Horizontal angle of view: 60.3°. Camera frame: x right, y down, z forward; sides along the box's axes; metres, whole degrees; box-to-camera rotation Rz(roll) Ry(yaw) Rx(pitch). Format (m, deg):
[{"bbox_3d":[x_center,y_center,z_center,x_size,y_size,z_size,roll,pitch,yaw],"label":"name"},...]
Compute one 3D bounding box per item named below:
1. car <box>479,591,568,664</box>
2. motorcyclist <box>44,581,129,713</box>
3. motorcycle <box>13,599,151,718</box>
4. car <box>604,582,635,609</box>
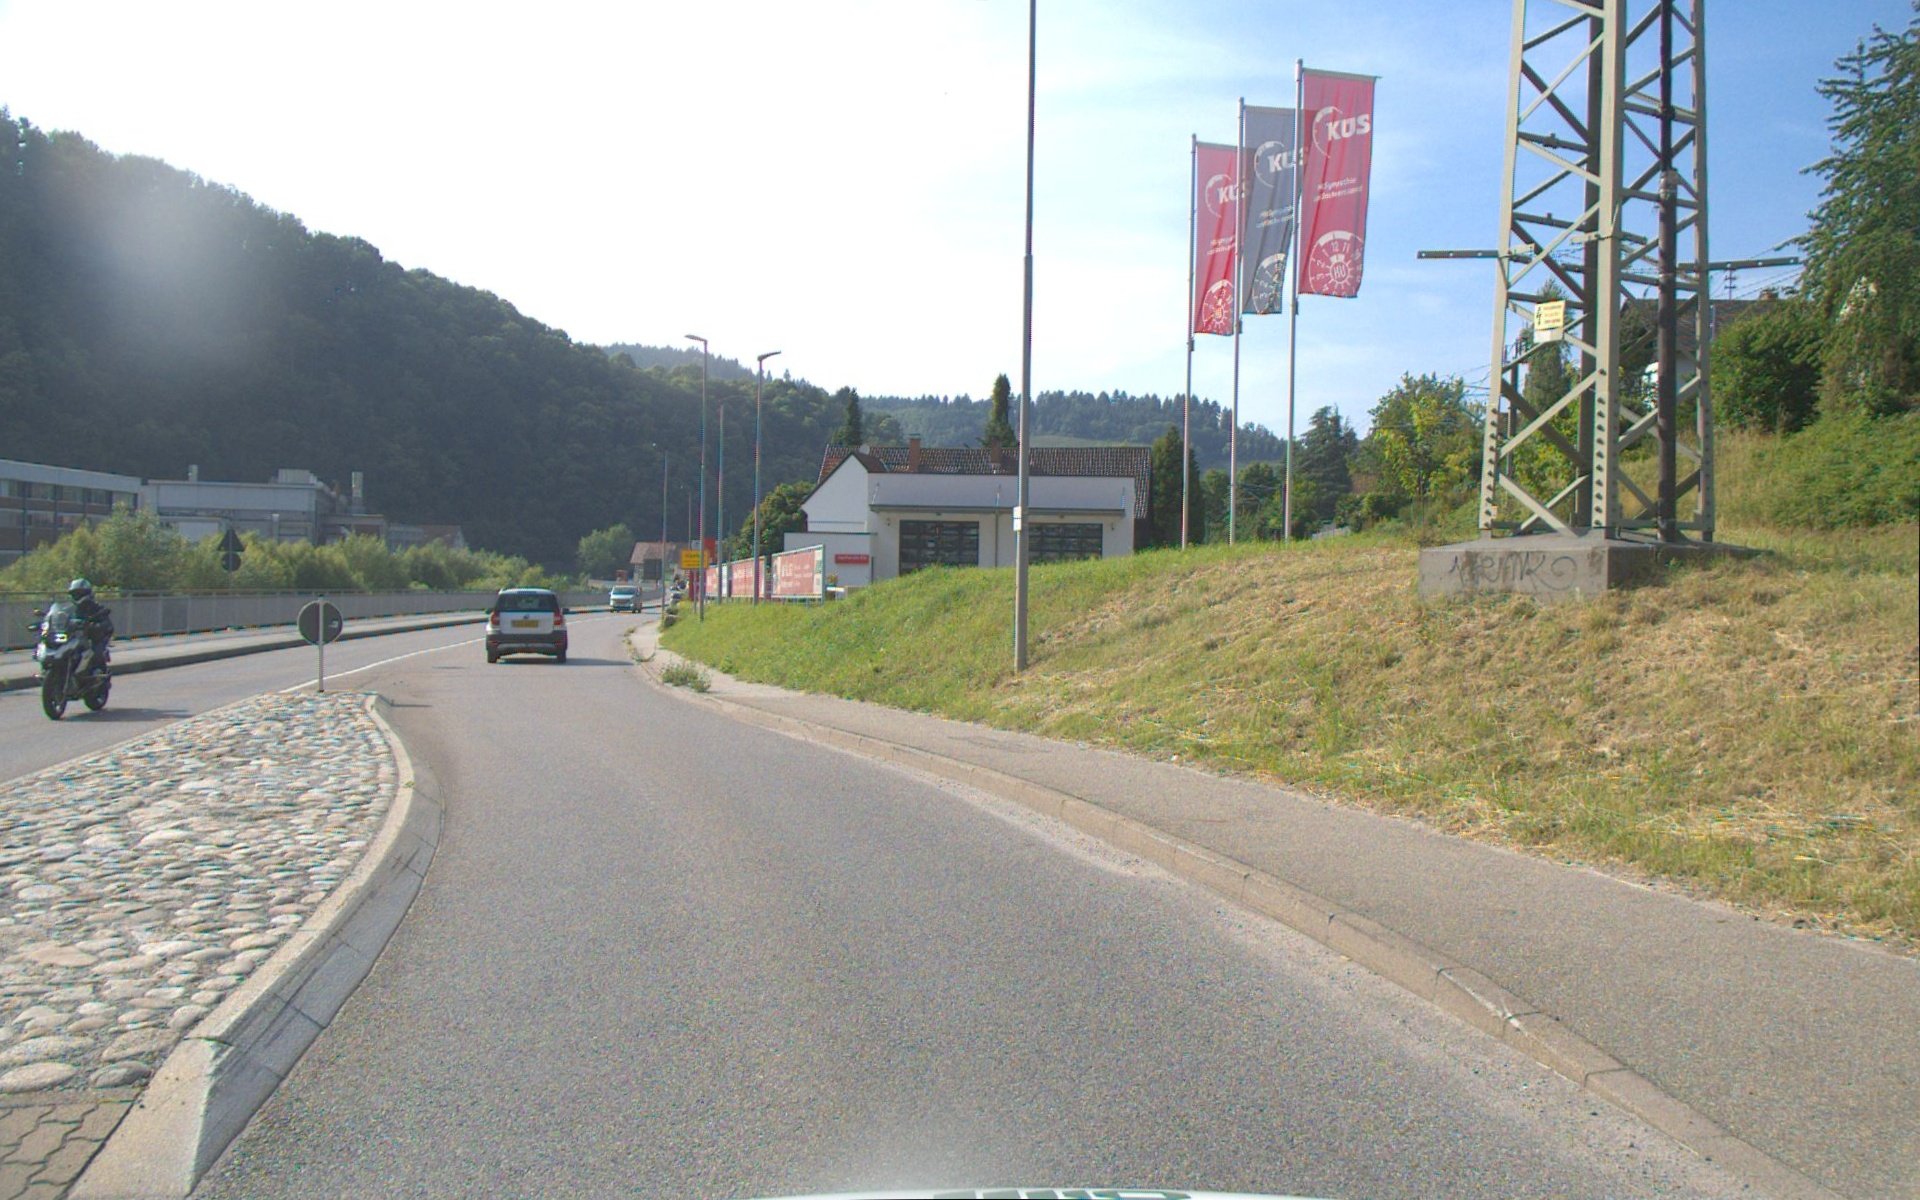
[{"bbox_3d":[-10.072,0.601,38.305,1.829,1.571,4.357,1,0,-14],"label":"car"},{"bbox_3d":[-11.467,0.606,21.729,0.748,1.707,0.726,0,-1,-5],"label":"motorcyclist"},{"bbox_3d":[-11.476,0.724,21.710,0.757,1.447,2.316,0,0,-6],"label":"motorcycle"},{"bbox_3d":[-25.476,-0.313,123.875,1.884,2.002,5.137,0,0,-7],"label":"car"}]
